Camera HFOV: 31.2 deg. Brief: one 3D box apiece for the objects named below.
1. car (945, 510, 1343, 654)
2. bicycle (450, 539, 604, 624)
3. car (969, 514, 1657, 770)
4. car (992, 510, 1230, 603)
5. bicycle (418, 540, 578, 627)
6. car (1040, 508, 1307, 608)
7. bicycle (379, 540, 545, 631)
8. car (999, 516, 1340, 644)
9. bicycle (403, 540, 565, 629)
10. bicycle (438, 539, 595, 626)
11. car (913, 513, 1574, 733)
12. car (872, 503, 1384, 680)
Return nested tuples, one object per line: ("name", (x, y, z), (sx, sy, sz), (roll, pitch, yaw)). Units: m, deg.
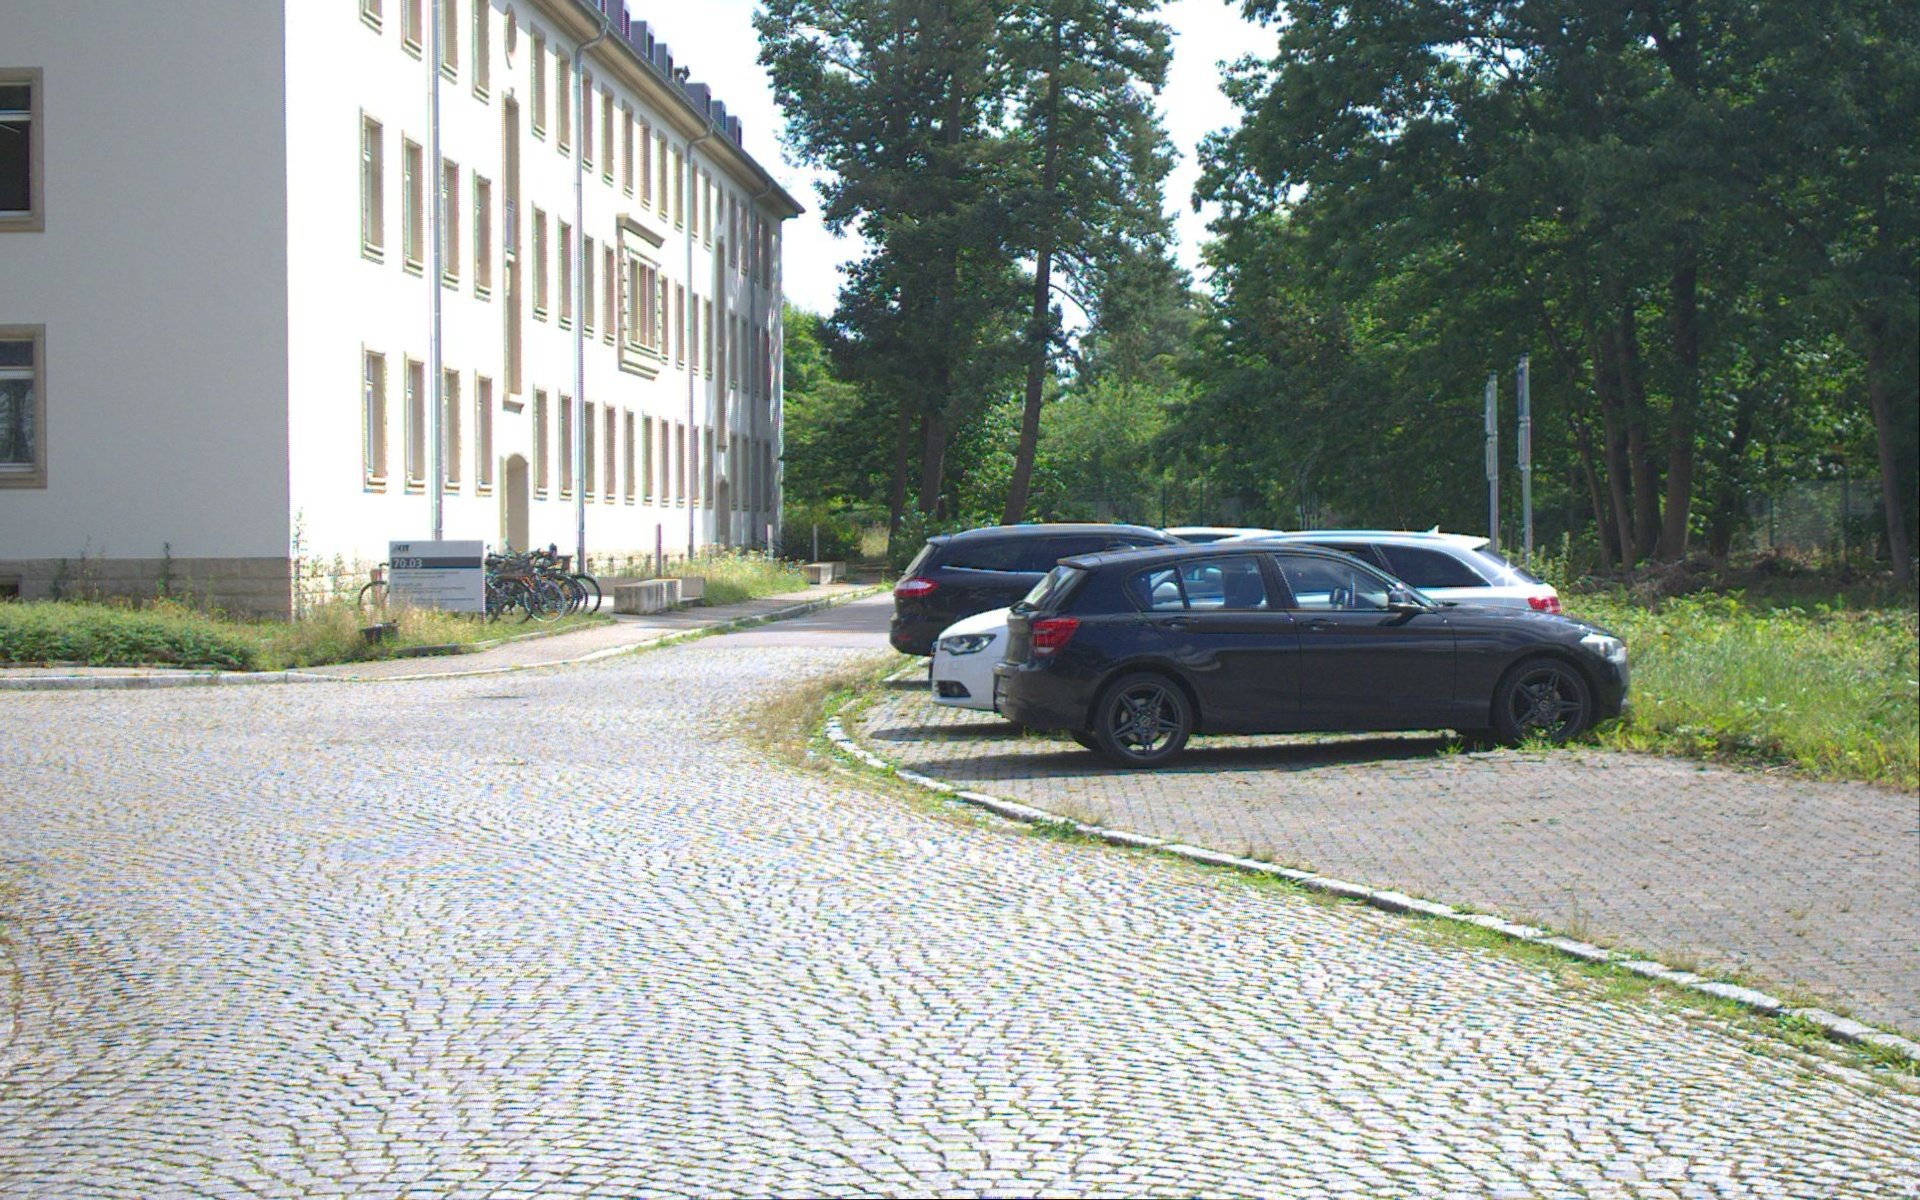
("car", (2.068, -0.209, 39.288), (4.398, 1.479, 1.766), (-2, 1, 1))
("bicycle", (-6.583, -0.284, 52.259), (2.222, 1.256, 0.623), (-1, 1, 5))
("car", (2.322, 0.243, 23.288), (4.323, 1.495, 1.830), (-2, 2, -5))
("car", (2.746, -0.780, 61.958), (4.187, 1.538, 1.820), (-2, 1, 5))
("bicycle", (-6.767, -0.244, 50.416), (2.223, 1.256, 0.623), (-1, 1, 9))
("car", (3.515, -0.687, 56.512), (4.267, 1.479, 1.820), (-2, 1, 5))
("bicycle", (-7.052, -0.205, 48.689), (2.223, 1.256, 0.623), (-1, 1, 9))
("car", (2.683, -0.260, 43.869), (4.208, 1.479, 1.820), (-2, 1, 5))
("bicycle", (-6.851, -0.225, 49.521), (2.222, 1.256, 0.623), (-1, 1, 5))
("bicycle", (-6.609, -0.263, 51.251), (2.222, 1.256, 0.623), (-1, 1, 5))
("car", (2.125, 0.147, 26.476), (4.862, 1.467, 1.874), (-2, 2, 1))
("car", (1.627, -0.089, 33.857), (4.853, 1.547, 1.880), (-2, 1, 1))
